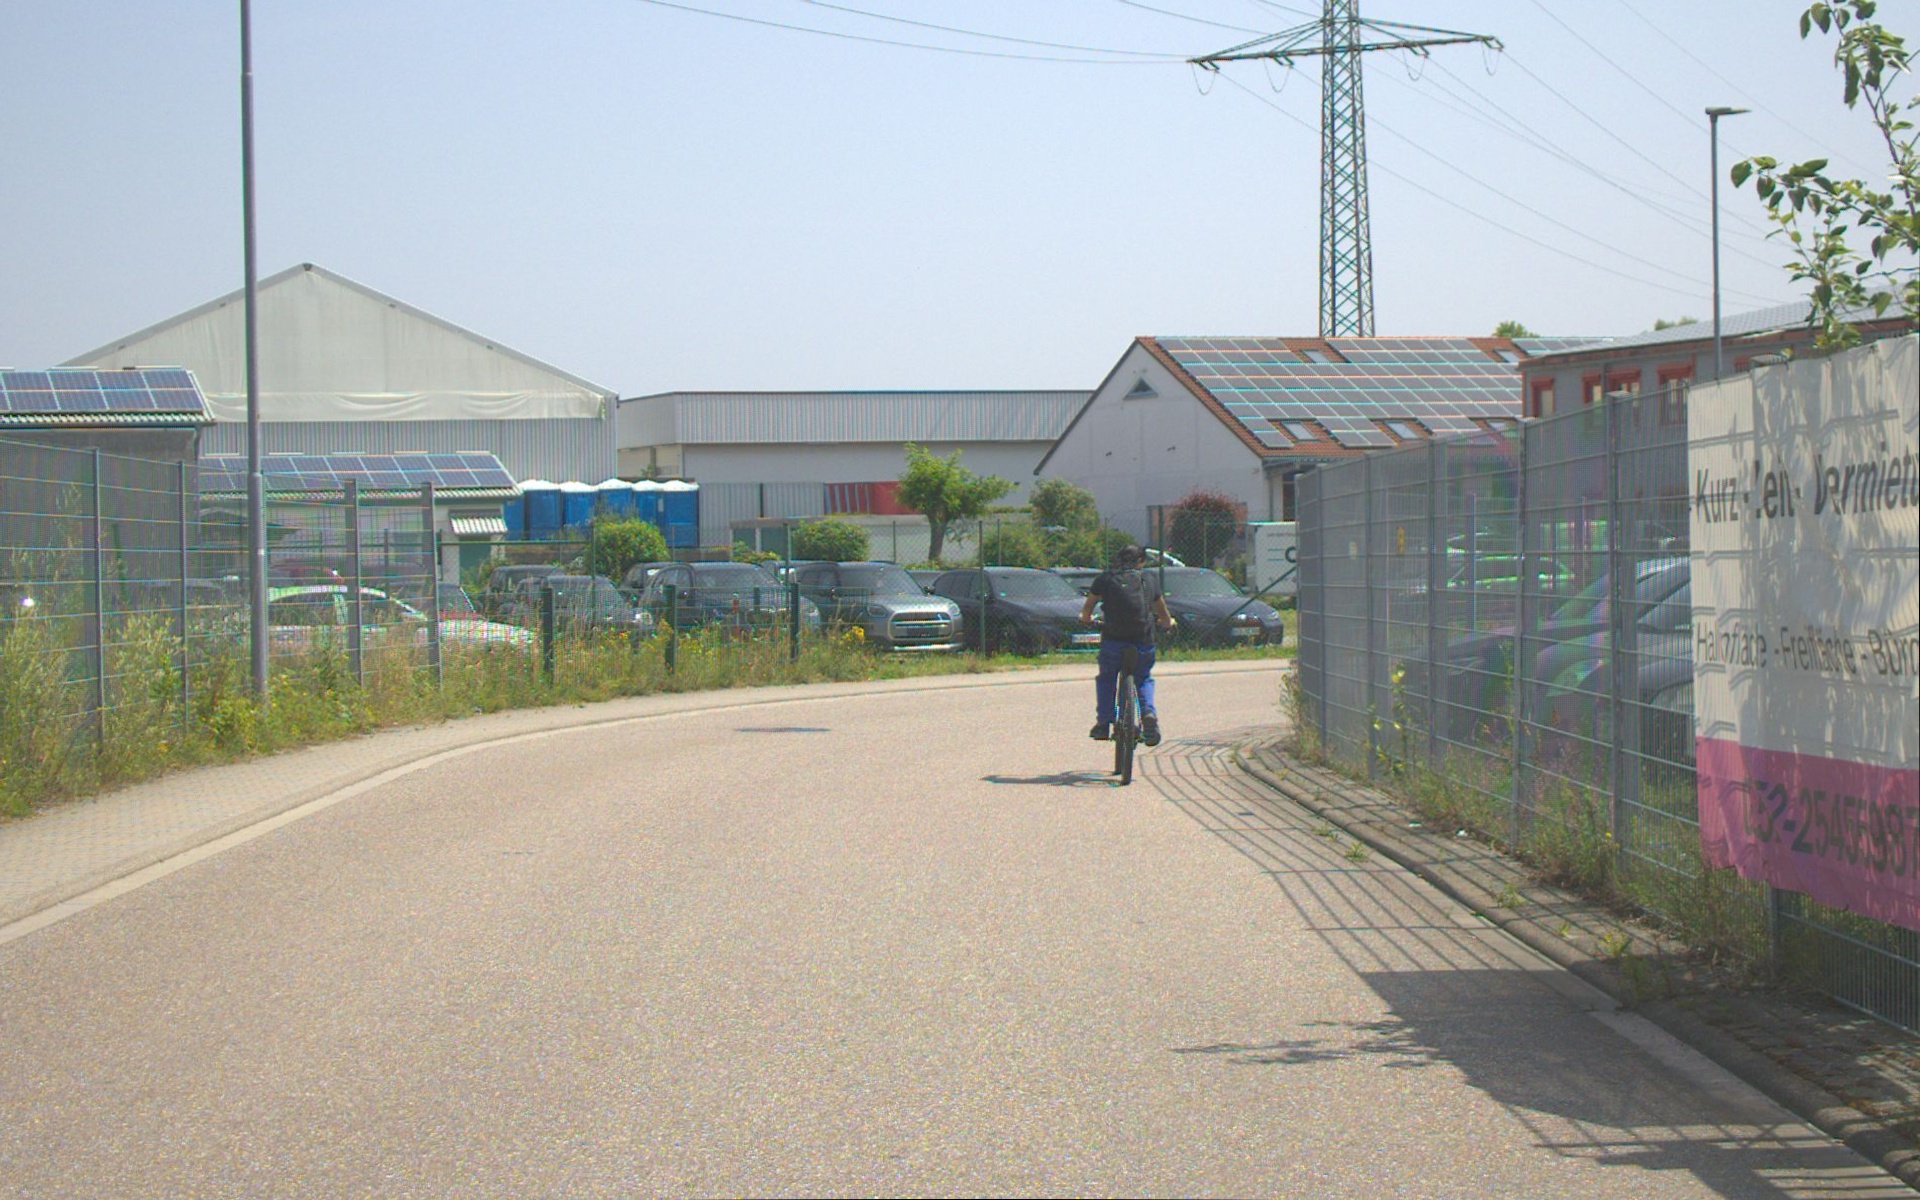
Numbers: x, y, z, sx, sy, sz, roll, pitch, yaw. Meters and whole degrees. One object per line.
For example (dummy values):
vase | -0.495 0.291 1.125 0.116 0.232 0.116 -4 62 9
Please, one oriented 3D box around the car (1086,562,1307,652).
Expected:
car | 3.941 0.091 58.087 1.995 1.430 4.667 -1 1 -20

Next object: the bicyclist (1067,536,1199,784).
bicyclist | 1.154 0.383 22.983 0.842 1.613 1.039 1 1 3

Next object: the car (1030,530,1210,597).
car | 3.917 -0.900 84.315 3.986 1.593 1.877 -1 1 -18

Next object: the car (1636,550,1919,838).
car | 5.558 0.544 18.171 3.523 1.384 1.637 4 1 -3

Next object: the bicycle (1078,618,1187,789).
bicycle | 1.153 0.670 23.062 0.685 1.048 1.901 1 1 3

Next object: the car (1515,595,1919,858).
car | 5.342 0.724 20.475 3.648 1.472 1.752 0 -1 -8

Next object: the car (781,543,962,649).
car | -1.470 -0.083 55.718 1.862 1.638 3.635 -1 1 -20

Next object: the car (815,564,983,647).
car | -1.154 0.075 62.708 1.993 1.415 4.001 -1 1 -18

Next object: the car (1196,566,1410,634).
car | 6.889 -0.010 68.947 4.127 1.256 1.235 -1 1 -21

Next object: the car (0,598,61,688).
car | -16.137 0.695 56.587 1.862 1.409 3.441 -1 1 -27

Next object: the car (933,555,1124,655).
car | 1.079 0.059 56.119 1.862 1.549 3.771 -1 1 -20

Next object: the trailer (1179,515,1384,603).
trailer | 7.410 -0.963 79.393 4.447 1.938 1.714 -1 1 -5

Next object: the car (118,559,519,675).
car | -7.791 0.182 41.719 4.546 1.302 1.869 -1 1 -19
